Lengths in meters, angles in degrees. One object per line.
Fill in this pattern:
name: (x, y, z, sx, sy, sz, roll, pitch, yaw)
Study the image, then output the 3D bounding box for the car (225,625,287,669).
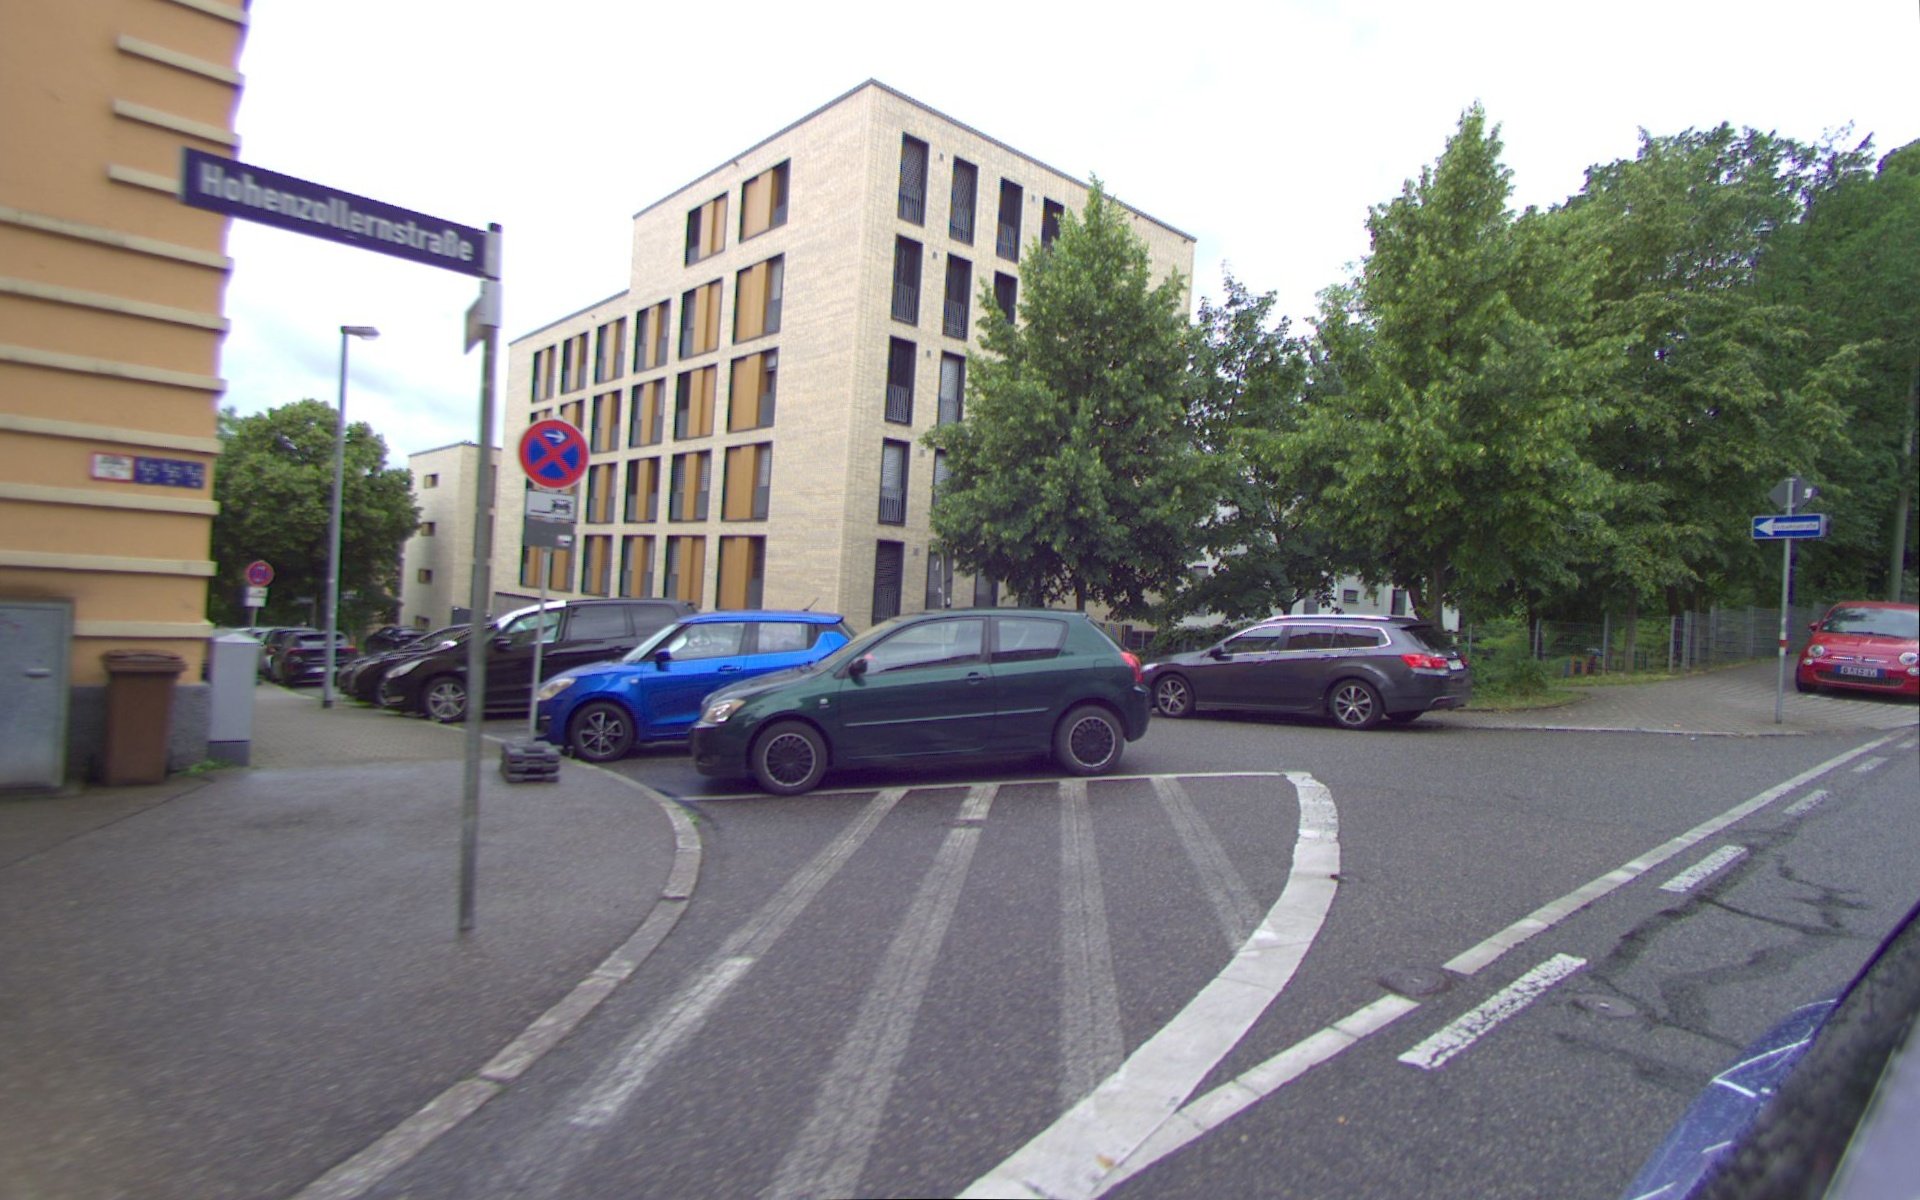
car: (-26.167, 1.739, 37.562, 1.543, 1.548, 3.821, 4, -4, -39)

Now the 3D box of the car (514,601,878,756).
car: (-2.823, 0.806, 11.145, 3.560, 1.511, 1.712, 1, -1, -14)

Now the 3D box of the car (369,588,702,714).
car: (-6.294, 0.754, 15.498, 4.444, 1.746, 1.712, 1, -1, -16)

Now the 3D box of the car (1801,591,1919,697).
car: (15.455, 0.654, 16.808, 3.889, 1.520, 1.613, 0, 3, -41)

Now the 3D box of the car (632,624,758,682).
car: (-7.055, 1.379, 26.769, 1.747, 1.444, 3.520, 4, -4, -43)

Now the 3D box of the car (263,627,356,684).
car: (-17.356, 1.458, 26.955, 1.583, 1.407, 3.523, 4, -4, -40)

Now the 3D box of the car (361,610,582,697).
car: (-9.494, 1.020, 19.910, 3.539, 1.487, 1.711, 1, 2, -8)

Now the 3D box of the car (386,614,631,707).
car: (-7.739, 1.044, 17.647, 3.539, 1.488, 1.710, 1, -2, -8)

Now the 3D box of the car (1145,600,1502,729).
car: (4.906, 0.818, 14.070, 1.970, 1.518, 4.268, 3, -3, -45)

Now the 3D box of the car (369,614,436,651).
car: (-26.854, 1.554, 48.701, 1.849, 1.668, 4.068, 4, -4, -43)

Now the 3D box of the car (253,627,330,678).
car: (-20.208, 1.565, 30.577, 1.596, 1.454, 2.762, 4, -4, -40)

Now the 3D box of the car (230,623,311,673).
car: (-22.988, 1.595, 33.695, 1.794, 1.555, 3.856, 4, -4, -40)

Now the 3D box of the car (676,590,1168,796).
car: (-0.392, 0.736, 9.231, 4.026, 1.487, 1.858, -2, 0, -9)

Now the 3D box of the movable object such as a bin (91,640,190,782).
movable object such as a bin: (-6.001, 0.794, 7.416, 0.503, 0.942, 0.506, 4, 1, -40)
